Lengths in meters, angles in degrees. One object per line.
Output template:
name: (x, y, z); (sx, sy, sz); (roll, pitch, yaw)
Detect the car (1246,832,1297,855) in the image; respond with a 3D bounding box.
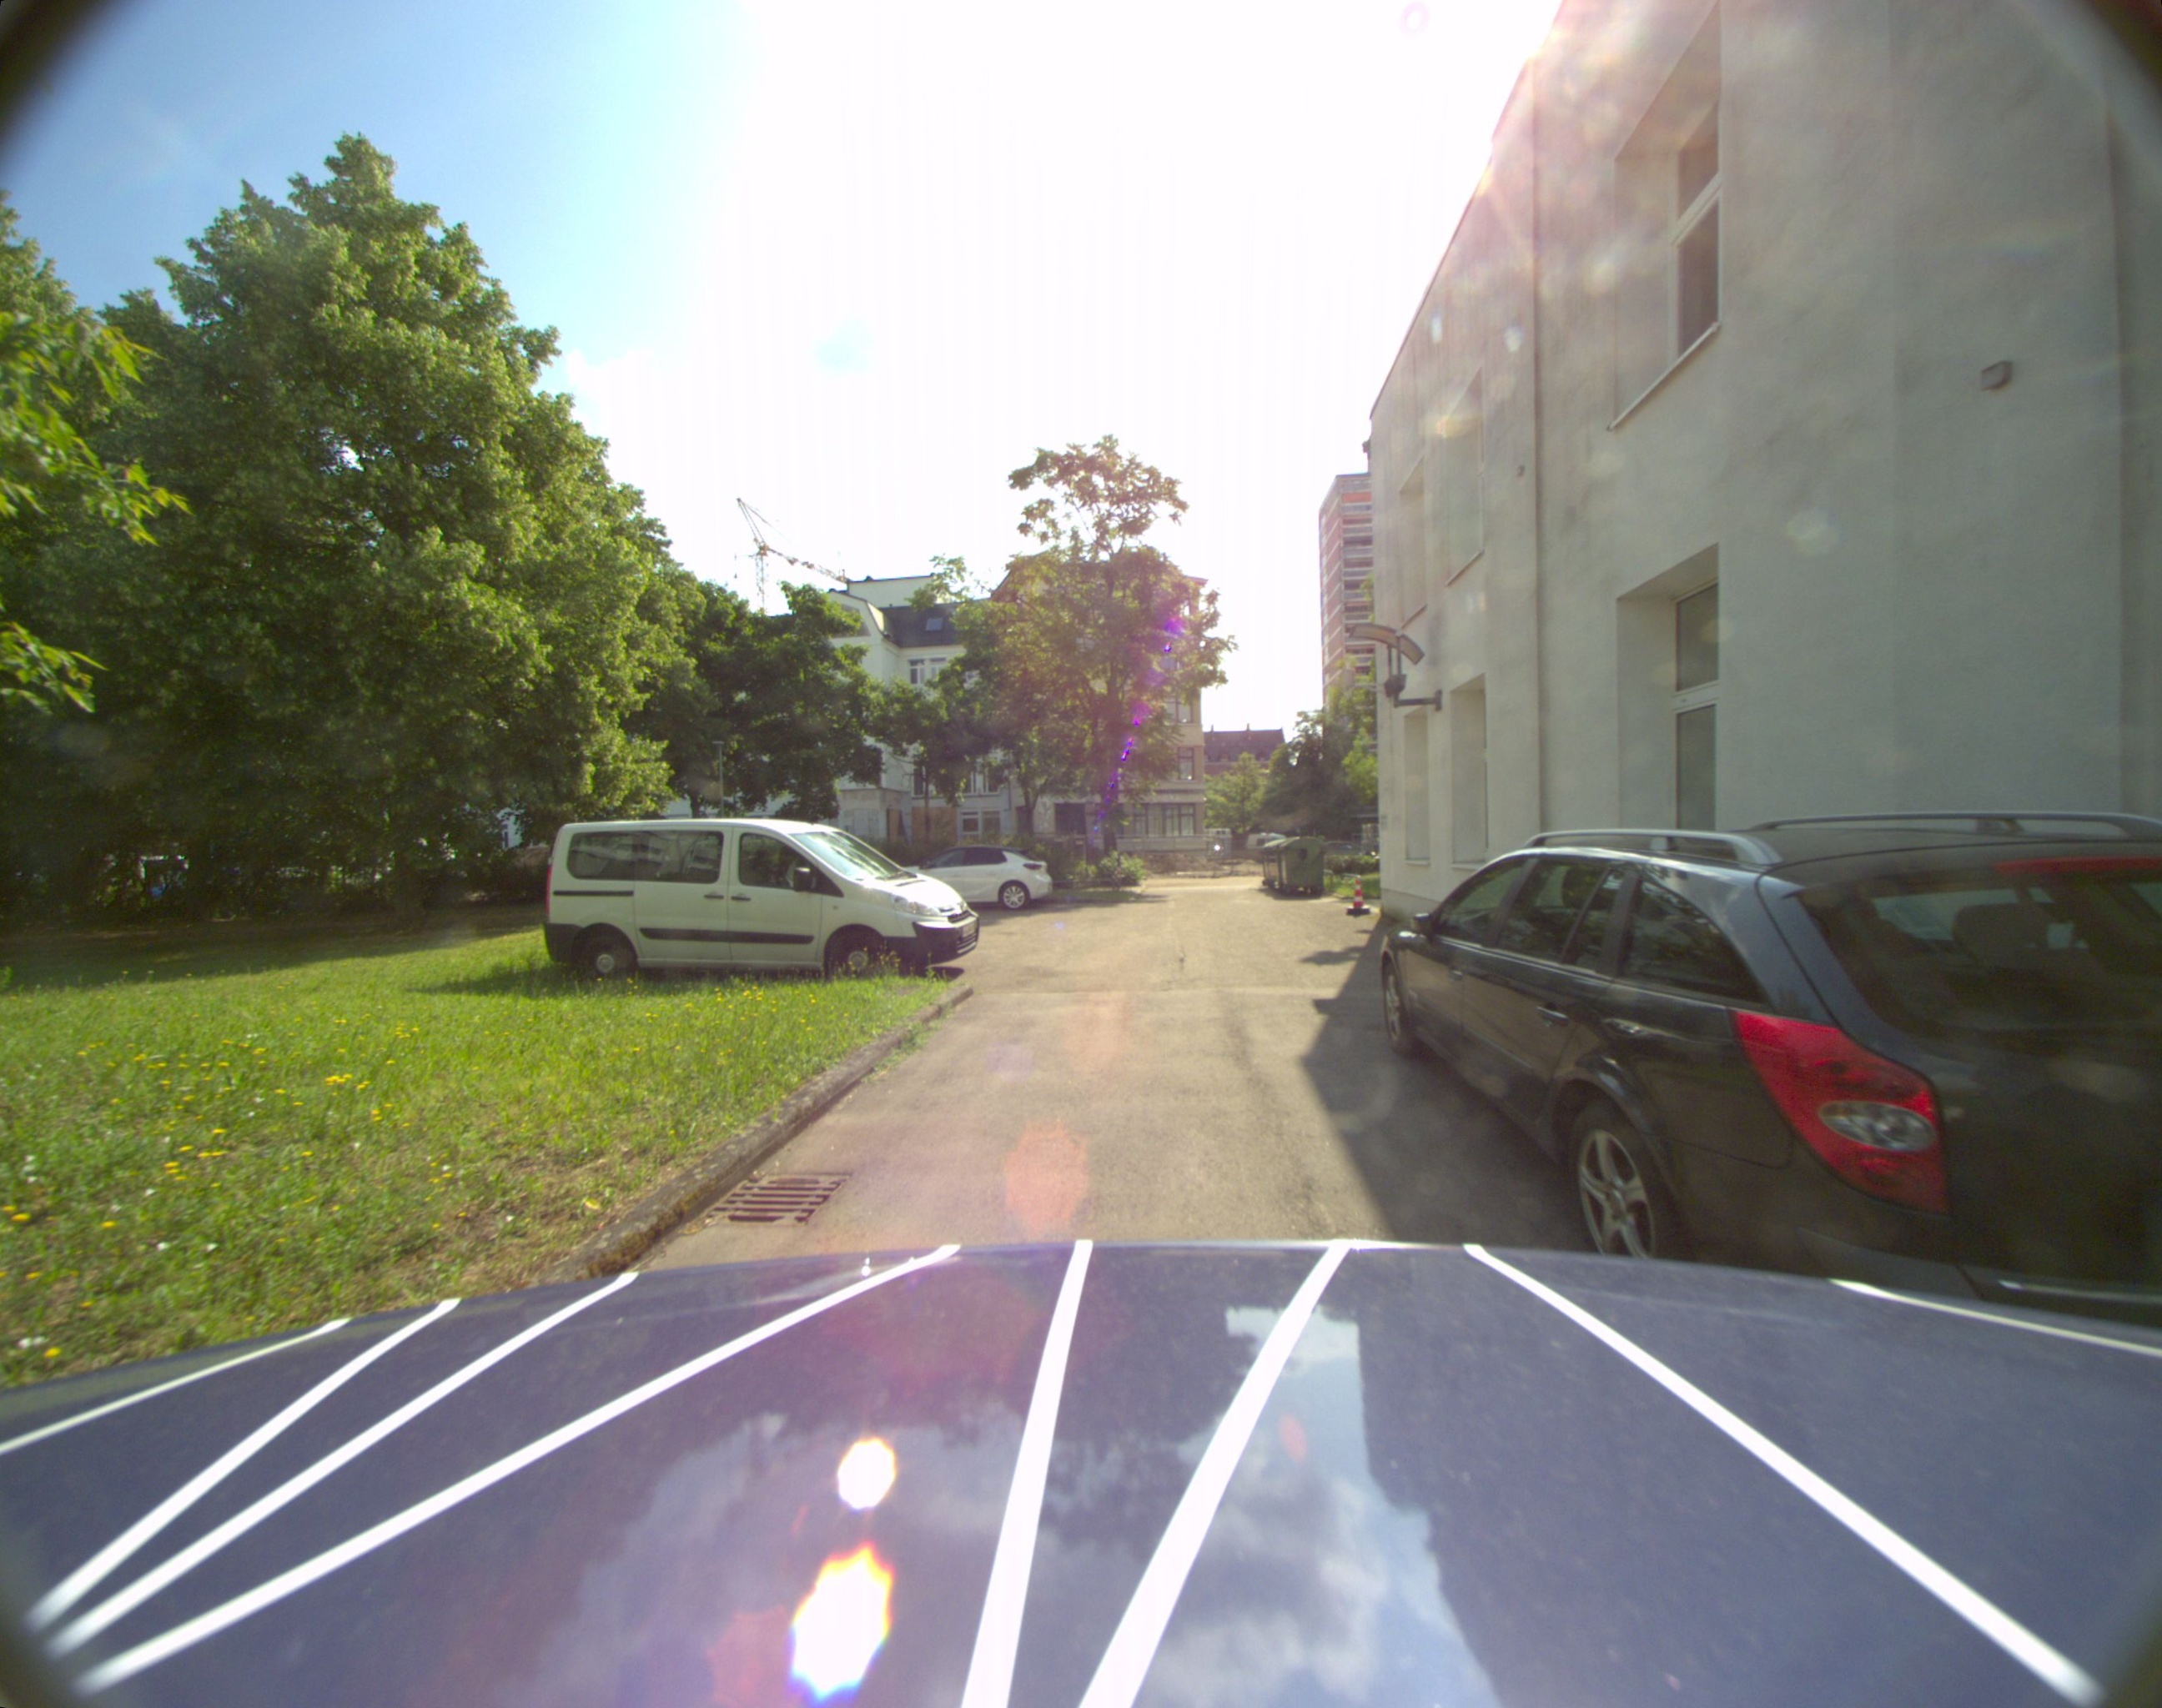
car: (17.789, -1.023, 71.218); (2.002, 2.003, 5.297); (-1, 3, -19)

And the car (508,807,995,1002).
car: (-3.693, 0.570, 8.969); (4.948, 1.952, 2.002); (-1, -1, 8)

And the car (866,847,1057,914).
car: (-2.607, 0.570, 17.102); (3.911, 1.412, 1.759); (0, 1, 7)

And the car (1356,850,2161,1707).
car: (2.679, 0.798, 3.220); (1.883, 1.434, 4.341); (-2, 2, 7)

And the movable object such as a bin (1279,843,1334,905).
movable object such as a bin: (5.624, 0.482, 19.023); (1.101, 1.443, 1.344); (-3, 0, 9)

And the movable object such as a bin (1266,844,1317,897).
movable object such as a bin: (5.994, 0.465, 21.732); (1.102, 1.443, 1.234); (-3, 0, 3)

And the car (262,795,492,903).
car: (-22.596, -0.064, 24.987); (2.000, 3.029, 6.971); (-1, -1, -9)

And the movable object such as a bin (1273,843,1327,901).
movable object such as a bin: (5.842, 0.492, 20.342); (1.226, 1.442, 1.284); (-3, -2, 12)

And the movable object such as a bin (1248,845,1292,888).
movable object such as a bin: (6.703, 0.444, 26.877); (1.246, 1.473, 1.299); (-1, -2, 27)

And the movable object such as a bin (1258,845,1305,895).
movable object such as a bin: (6.067, 0.490, 23.119); (1.102, 1.443, 1.344); (-2, -1, 4)
